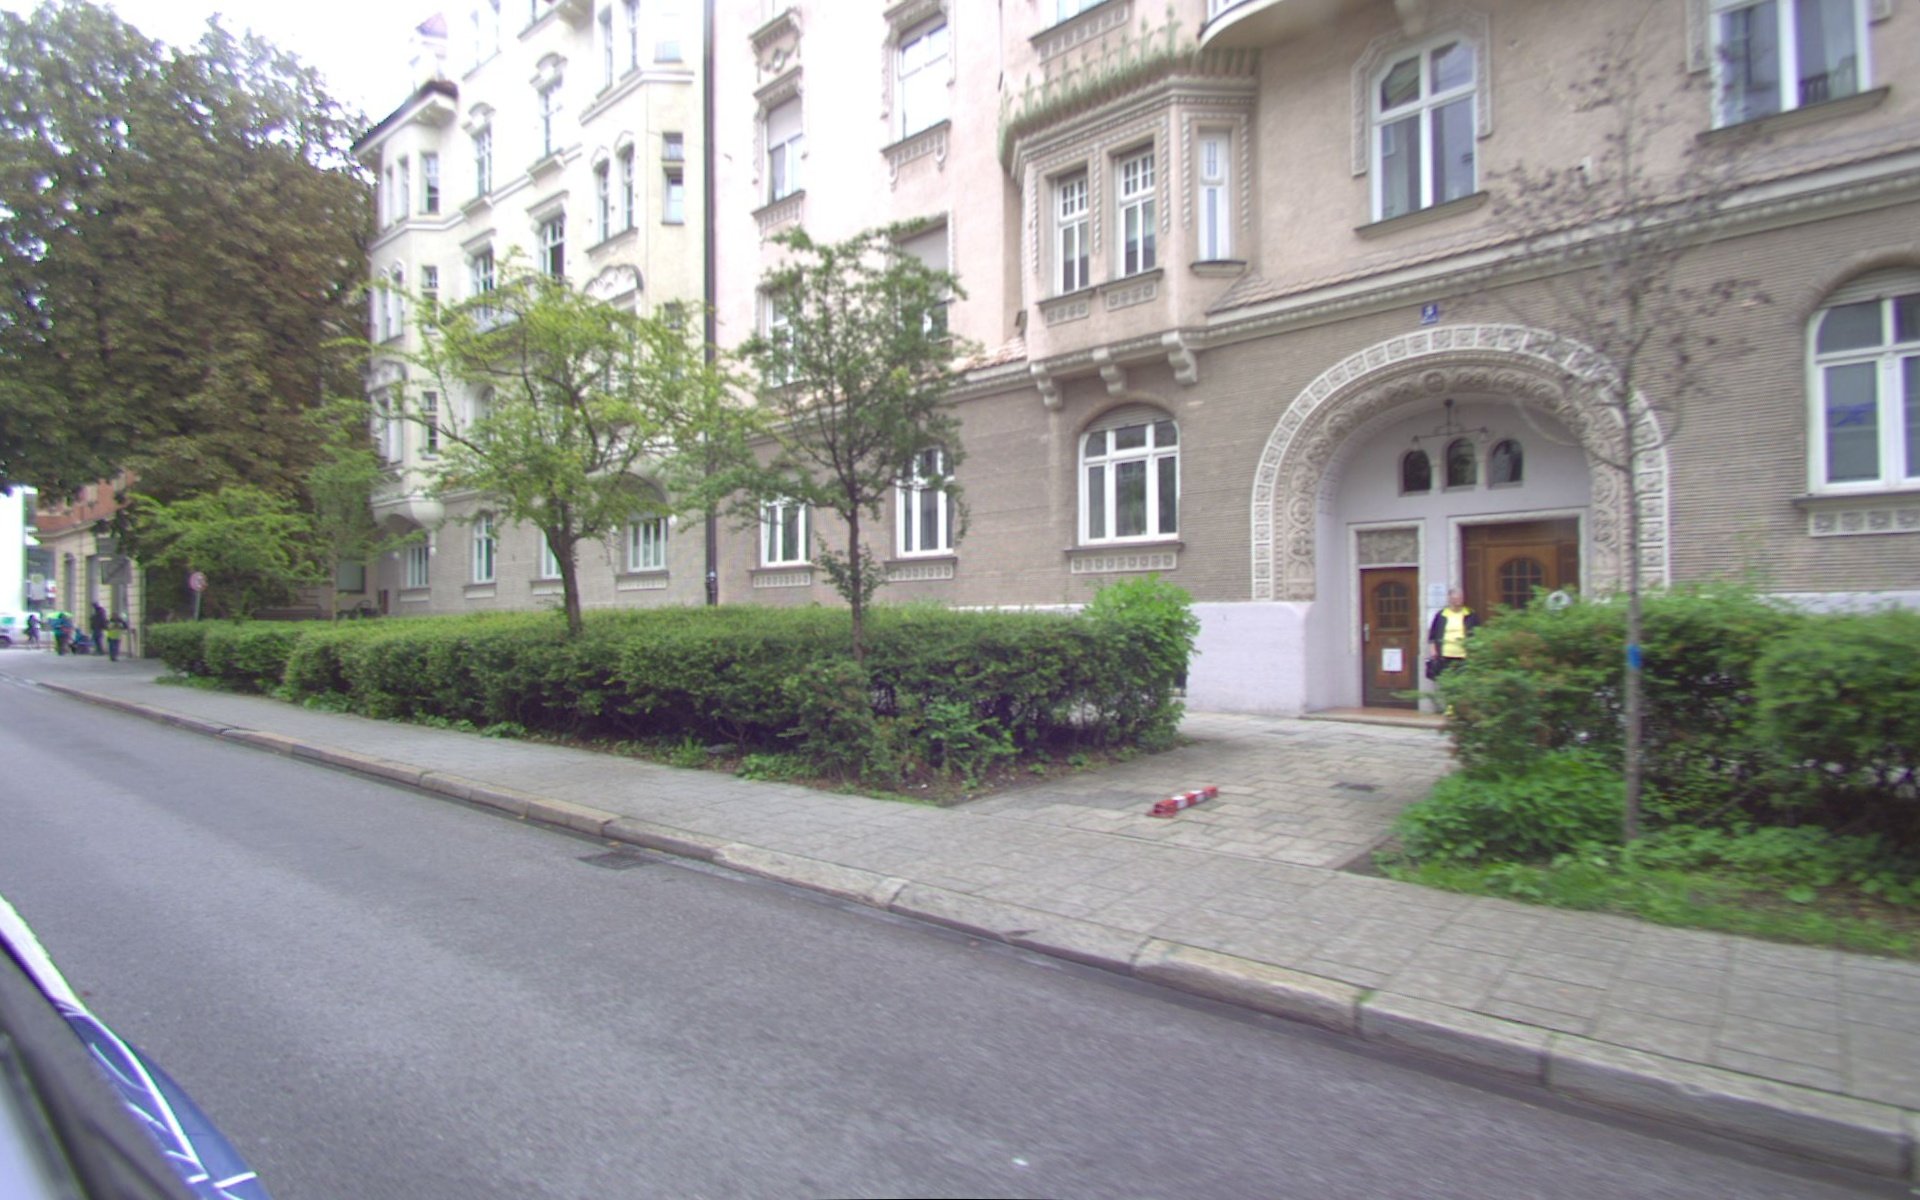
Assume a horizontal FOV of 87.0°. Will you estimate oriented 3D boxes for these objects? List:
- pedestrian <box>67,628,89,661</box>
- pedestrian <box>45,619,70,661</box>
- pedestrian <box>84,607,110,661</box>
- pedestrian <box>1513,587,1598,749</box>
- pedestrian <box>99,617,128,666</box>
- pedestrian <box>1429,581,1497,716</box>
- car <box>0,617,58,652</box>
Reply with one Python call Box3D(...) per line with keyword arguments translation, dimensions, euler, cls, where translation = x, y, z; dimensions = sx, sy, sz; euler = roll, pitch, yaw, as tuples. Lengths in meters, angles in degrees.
Box3D(translation=(-33.959, 1.706, 38.971), dimensions=(0.577, 1.253, 0.539), euler=(-2, -2, 41), cls="pedestrian")
Box3D(translation=(-34.621, 1.522, 38.838), dimensions=(0.661, 1.601, 0.617), euler=(-2, -2, 41), cls="pedestrian")
Box3D(translation=(-31.738, 1.251, 37.205), dimensions=(0.661, 1.971, 0.617), euler=(-2, -2, 41), cls="pedestrian")
Box3D(translation=(6.209, 0.688, 10.583), dimensions=(0.718, 1.623, 0.605), euler=(-1, -2, 29), cls="pedestrian")
Box3D(translation=(-28.401, 1.375, 33.945), dimensions=(0.661, 1.633, 0.617), euler=(-2, -2, 41), cls="pedestrian")
Box3D(translation=(6.289, 0.594, 12.641), dimensions=(0.718, 1.623, 0.605), euler=(-1, -2, 29), cls="pedestrian")
Box3D(translation=(-52.333, 1.895, 55.382), dimensions=(1.919, 1.906, 4.233), euler=(-1, -2, 41), cls="car")
